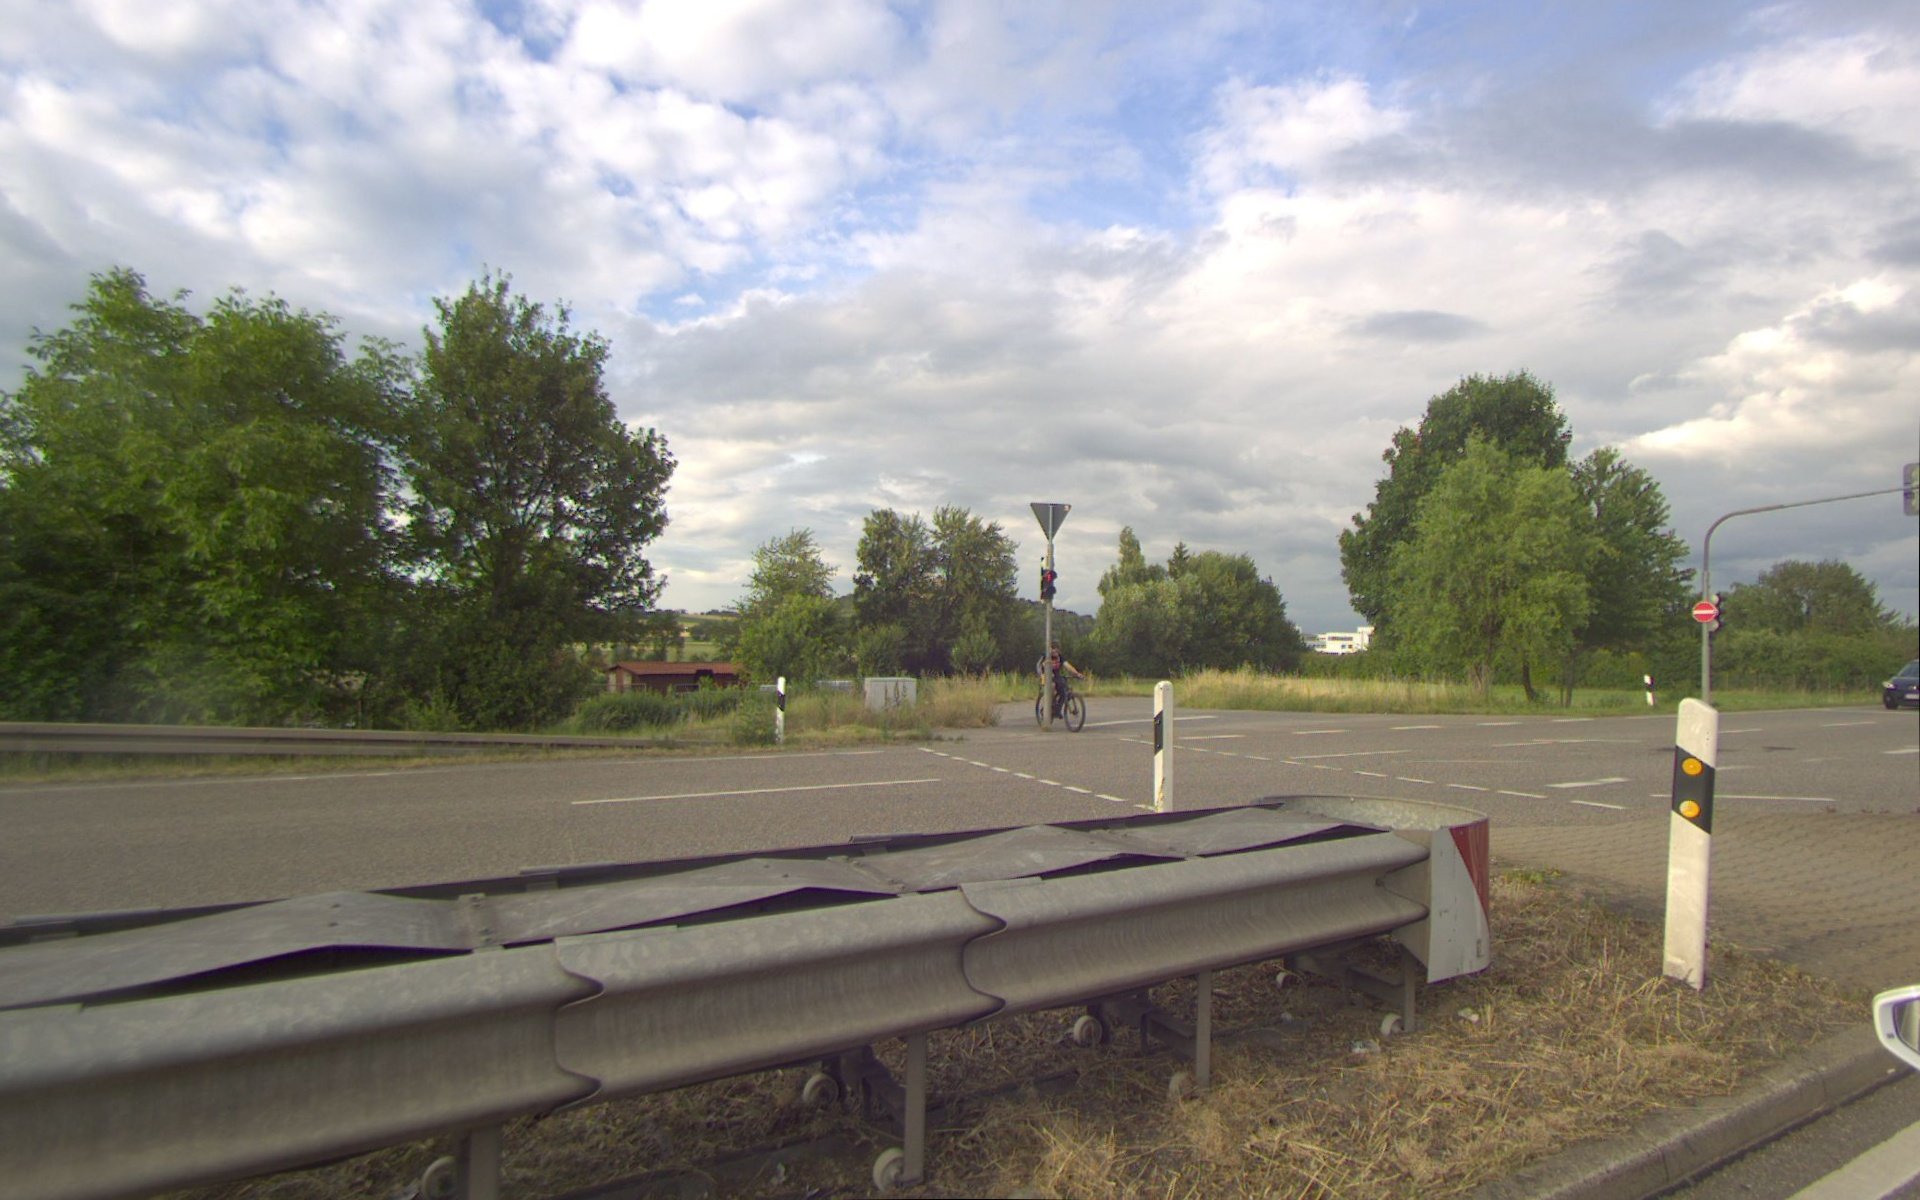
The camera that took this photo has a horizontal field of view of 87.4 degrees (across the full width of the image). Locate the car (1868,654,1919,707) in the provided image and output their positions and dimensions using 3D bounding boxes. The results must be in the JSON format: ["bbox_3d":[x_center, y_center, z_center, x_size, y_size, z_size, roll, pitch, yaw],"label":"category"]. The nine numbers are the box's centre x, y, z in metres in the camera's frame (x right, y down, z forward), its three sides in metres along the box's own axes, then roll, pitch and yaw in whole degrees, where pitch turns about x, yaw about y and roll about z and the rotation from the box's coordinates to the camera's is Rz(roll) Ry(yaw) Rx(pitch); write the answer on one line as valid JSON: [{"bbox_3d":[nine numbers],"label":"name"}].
[{"bbox_3d":[30.796,2.519,31.625,4.881,1.555,1.899,2,-3,-30],"label":"car"}]

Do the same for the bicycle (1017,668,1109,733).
[{"bbox_3d":[2.025,1.972,20.124,0.804,1.152,2.314,2,-3,-24],"label":"bicycle"}]

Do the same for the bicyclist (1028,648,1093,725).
[{"bbox_3d":[2.006,1.716,20.157,0.804,1.470,1.219,2,-2,-24],"label":"bicyclist"}]
